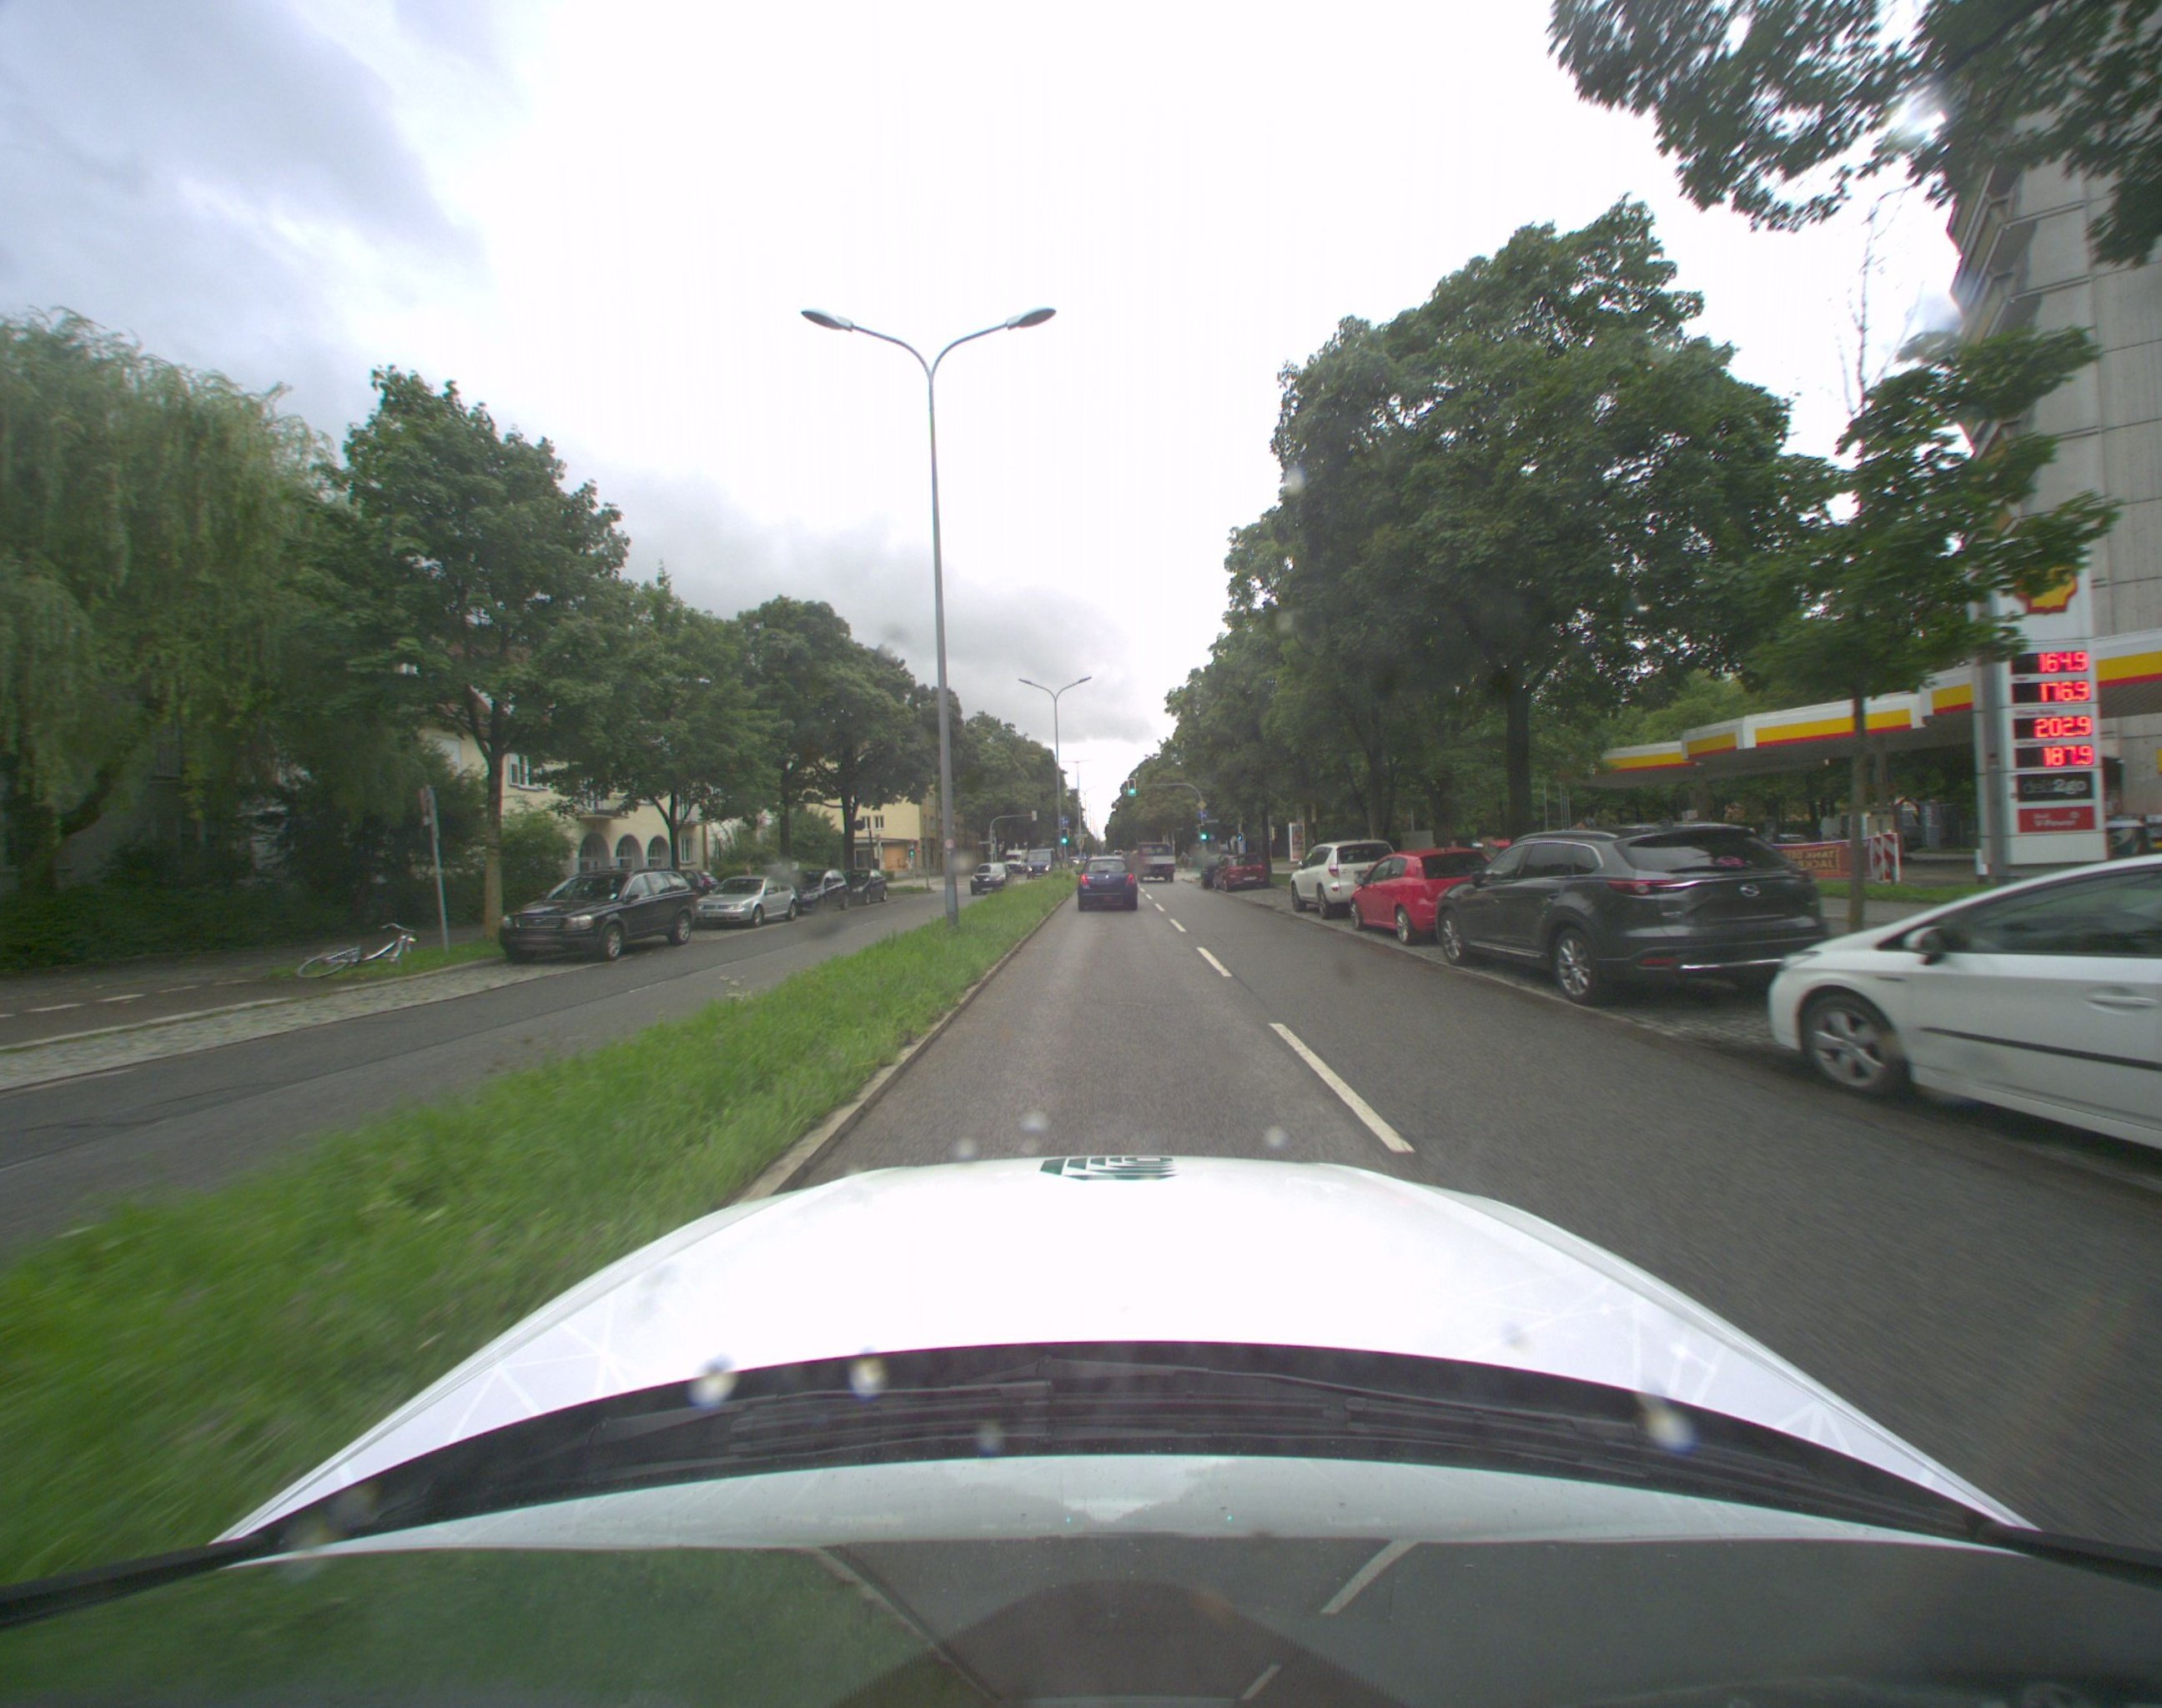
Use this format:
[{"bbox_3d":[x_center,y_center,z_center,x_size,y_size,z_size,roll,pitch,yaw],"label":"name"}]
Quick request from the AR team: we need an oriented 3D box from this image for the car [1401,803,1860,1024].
[{"bbox_3d":[5.564,0.493,9.345,1.754,1.698,5.232,-4,0,2],"label":"car"}]

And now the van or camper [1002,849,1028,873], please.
[{"bbox_3d":[-7.375,0.787,91.764,2.132,2.476,6.262,-3,0,2],"label":"van or camper"}]

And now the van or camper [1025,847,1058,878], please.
[{"bbox_3d":[-3.000,0.631,63.383,2.016,2.260,6.022,-3,0,1],"label":"van or camper"}]

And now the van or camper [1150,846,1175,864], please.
[{"bbox_3d":[8.830,0.092,88.100,2.119,1.794,4.505,-1,0,-1],"label":"van or camper"}]

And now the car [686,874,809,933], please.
[{"bbox_3d":[-9.598,1.363,23.840,1.660,1.445,4.376,0,0,2],"label":"car"}]

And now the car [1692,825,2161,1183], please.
[{"bbox_3d":[5.464,0.620,3.801,1.754,1.453,4.634,-4,0,2],"label":"car"}]

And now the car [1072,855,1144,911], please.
[{"bbox_3d":[0.717,0.796,23.908,1.891,1.499,3.658,-1,0,-1],"label":"car"}]

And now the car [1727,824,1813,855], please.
[{"bbox_3d":[46.130,-0.982,54.589,4.008,1.610,1.773,-7,0,8],"label":"car"}]

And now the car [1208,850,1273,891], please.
[{"bbox_3d":[6.450,0.635,33.415,1.707,1.424,4.283,-6,0,0],"label":"car"}]

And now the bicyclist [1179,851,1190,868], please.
[{"bbox_3d":[9.122,0.513,71.767,0.927,1.479,0.991,-1,0,3],"label":"bicyclist"}]

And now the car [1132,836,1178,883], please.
[{"bbox_3d":[4.096,0.274,45.851,2.408,2.444,5.091,-1,0,3],"label":"car"}]

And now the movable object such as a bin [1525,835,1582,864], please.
[{"bbox_3d":[25.829,-0.239,44.567,2.053,1.486,1.838,-3,0,2],"label":"movable object such as a bin"}]

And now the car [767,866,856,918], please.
[{"bbox_3d":[-9.418,1.281,28.806,1.661,1.562,4.298,-2,0,-1],"label":"car"}]

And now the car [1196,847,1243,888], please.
[{"bbox_3d":[6.423,0.586,38.192,1.754,1.658,4.290,-6,0,6],"label":"car"}]

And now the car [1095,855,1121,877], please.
[{"bbox_3d":[1.991,0.870,59.973,1.792,1.499,3.662,-2,0,2],"label":"car"}]

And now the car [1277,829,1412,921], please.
[{"bbox_3d":[6.119,0.447,19.469,1.754,1.830,4.530,-4,0,2],"label":"car"}]

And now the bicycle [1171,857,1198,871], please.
[{"bbox_3d":[9.143,0.873,71.764,2.288,1.114,0.997,-1,0,3],"label":"bicycle"}]

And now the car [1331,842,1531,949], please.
[{"bbox_3d":[5.944,0.629,14.419,1.754,1.506,4.145,-4,0,2],"label":"car"}]

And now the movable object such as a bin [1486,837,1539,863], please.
[{"bbox_3d":[23.608,-0.210,44.609,2.052,1.263,1.532,-3,0,1],"label":"movable object such as a bin"}]

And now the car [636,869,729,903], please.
[{"bbox_3d":[-19.379,1.539,39.719,3.622,1.462,1.671,-3,0,-1],"label":"car"}]

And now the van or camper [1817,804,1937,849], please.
[{"bbox_3d":[52.834,-1.784,54.166,5.060,2.362,2.567,-7,0,8],"label":"van or camper"}]

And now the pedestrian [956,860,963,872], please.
[{"bbox_3d":[-14.192,1.372,95.373,0.626,1.440,0.806,-1,-1,2],"label":"pedestrian"}]

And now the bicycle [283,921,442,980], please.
[{"bbox_3d":[-12.168,1.613,13.871,1.446,0.829,1.404,-1,0,1],"label":"bicycle"}]

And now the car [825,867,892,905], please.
[{"bbox_3d":[-9.324,1.295,34.424,1.557,1.450,3.841,0,0,4],"label":"car"}]

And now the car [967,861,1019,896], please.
[{"bbox_3d":[-4.087,1.102,38.575,1.730,1.442,4.106,-3,0,3],"label":"car"}]

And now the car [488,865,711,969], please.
[{"bbox_3d":[-9.728,1.164,17.052,1.791,1.763,5.053,0,0,-2],"label":"car"}]
